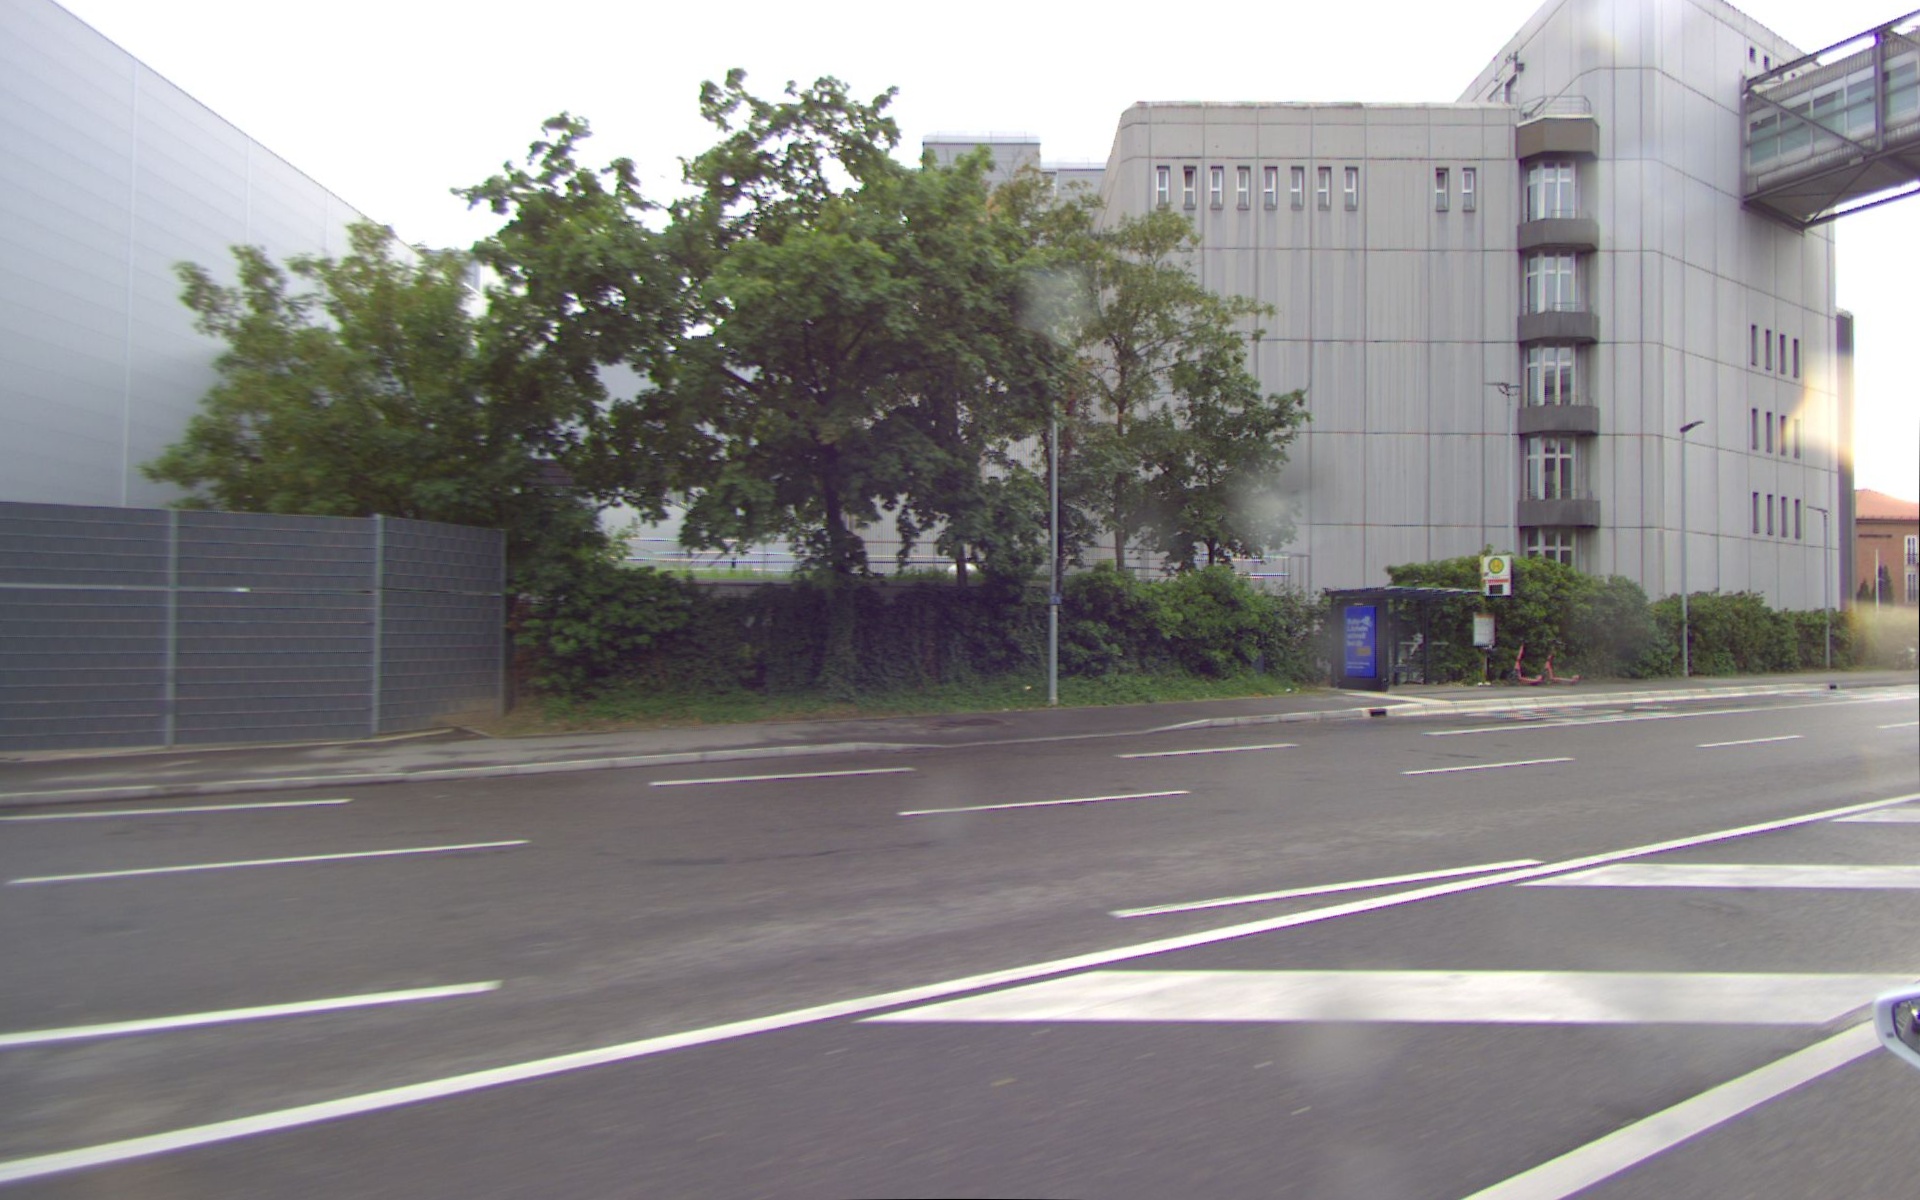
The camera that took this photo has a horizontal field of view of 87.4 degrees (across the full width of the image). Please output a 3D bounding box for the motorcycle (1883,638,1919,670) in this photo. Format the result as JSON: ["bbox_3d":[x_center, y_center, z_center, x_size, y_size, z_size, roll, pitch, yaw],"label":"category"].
[{"bbox_3d":[38.188,2.174,40.532,2.132,1.267,0.781,1,-2,-30],"label":"motorcycle"}]

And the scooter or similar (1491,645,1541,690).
[{"bbox_3d":[14.905,1.799,26.922,1.230,1.196,0.388,1,-2,-16],"label":"scooter or similar"}]

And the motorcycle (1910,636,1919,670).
[{"bbox_3d":[40.345,2.180,41.610,2.342,1.365,0.781,1,-2,-30],"label":"motorcycle"}]

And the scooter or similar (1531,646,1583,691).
[{"bbox_3d":[16.355,1.870,27.509,1.355,1.196,0.378,1,-2,-16],"label":"scooter or similar"}]
